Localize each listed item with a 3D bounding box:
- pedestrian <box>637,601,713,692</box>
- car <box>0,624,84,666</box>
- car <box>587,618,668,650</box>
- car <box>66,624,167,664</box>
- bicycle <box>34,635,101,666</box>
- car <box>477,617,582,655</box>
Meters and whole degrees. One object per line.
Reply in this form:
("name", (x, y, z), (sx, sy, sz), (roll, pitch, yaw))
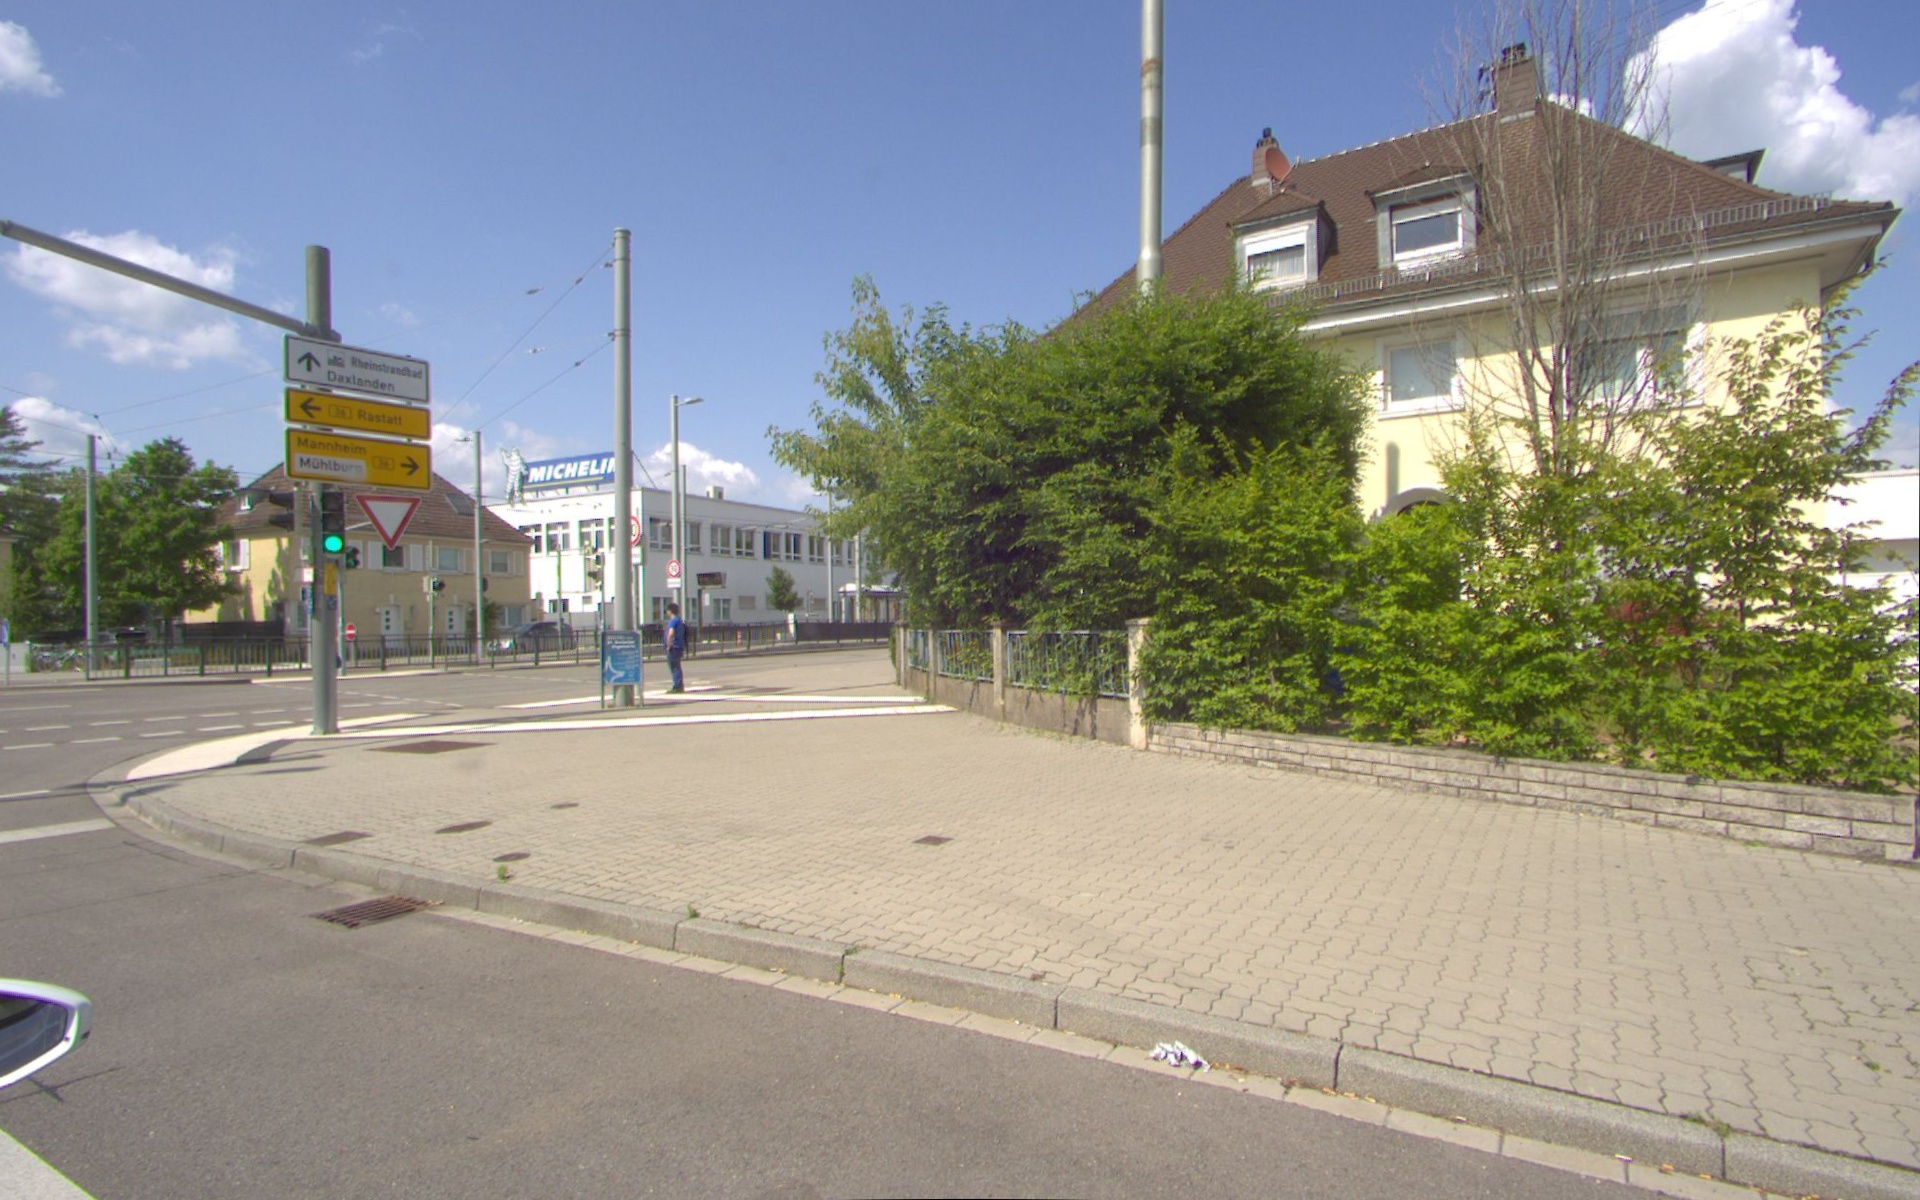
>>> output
("pedestrian", (-5.690, 0.912, 20.020), (1.025, 1.757, 1.028), (-1, 0, 29))
("car", (-39.399, 1.926, 42.457), (3.934, 1.641, 1.823), (-3, -1, 23))
("car", (-16.496, 1.667, 49.791), (1.553, 1.465, 3.705), (-1, -1, 30))
("car", (-37.605, 1.954, 44.644), (3.934, 1.641, 1.823), (-3, -1, 23))
("bicycle", (-34.072, 1.923, 38.252), (1.777, 1.119, 0.701), (-1, -1, -19))
("car", (-18.994, 1.568, 44.334), (1.815, 1.589, 3.981), (-1, -1, 30))
